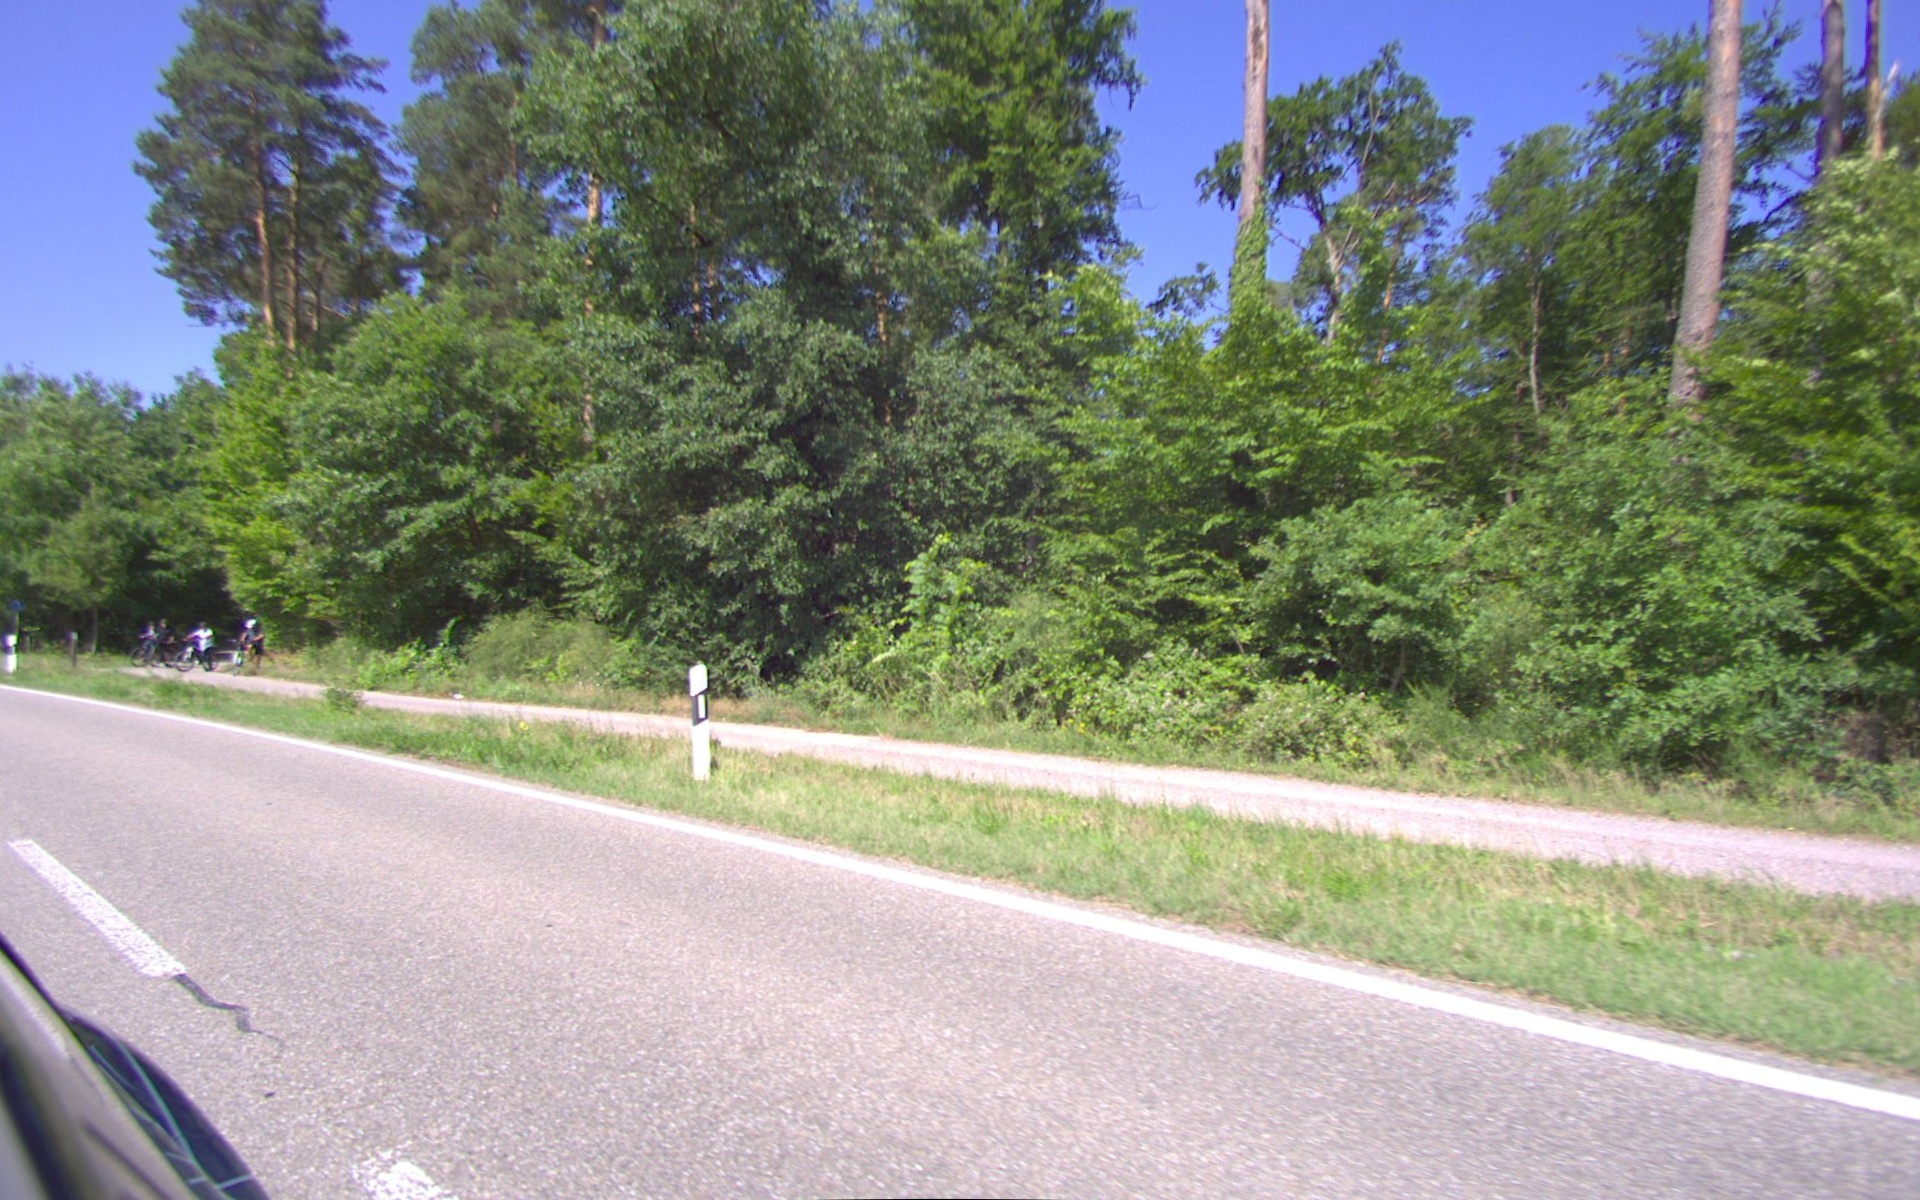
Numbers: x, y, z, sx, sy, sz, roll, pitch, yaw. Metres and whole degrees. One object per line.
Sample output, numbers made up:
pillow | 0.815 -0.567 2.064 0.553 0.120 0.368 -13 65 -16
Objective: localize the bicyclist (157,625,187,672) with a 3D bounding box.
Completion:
bicyclist | -29.684 1.817 38.138 0.596 1.713 0.853 0 0 -14

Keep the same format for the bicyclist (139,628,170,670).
bicyclist | -30.341 1.838 38.130 0.596 1.557 0.874 0 0 -14

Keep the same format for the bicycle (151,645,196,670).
bicycle | -29.723 2.162 38.281 0.596 0.836 1.990 0 0 -14

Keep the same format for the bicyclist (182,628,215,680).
bicyclist | -26.486 1.871 35.223 0.596 1.732 0.791 0 0 -7

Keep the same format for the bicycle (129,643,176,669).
bicycle | -30.324 2.099 38.037 0.596 0.836 1.990 0 0 -14

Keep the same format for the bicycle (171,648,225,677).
bicycle | -26.475 2.160 35.201 0.596 0.836 1.988 0 0 -7

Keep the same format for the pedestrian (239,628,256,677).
pedestrian | -22.814 1.675 32.393 0.389 1.550 0.282 -1 -2 28

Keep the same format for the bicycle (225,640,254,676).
bicycle | -22.962 1.843 32.261 0.572 1.094 1.452 -2 -1 -29
